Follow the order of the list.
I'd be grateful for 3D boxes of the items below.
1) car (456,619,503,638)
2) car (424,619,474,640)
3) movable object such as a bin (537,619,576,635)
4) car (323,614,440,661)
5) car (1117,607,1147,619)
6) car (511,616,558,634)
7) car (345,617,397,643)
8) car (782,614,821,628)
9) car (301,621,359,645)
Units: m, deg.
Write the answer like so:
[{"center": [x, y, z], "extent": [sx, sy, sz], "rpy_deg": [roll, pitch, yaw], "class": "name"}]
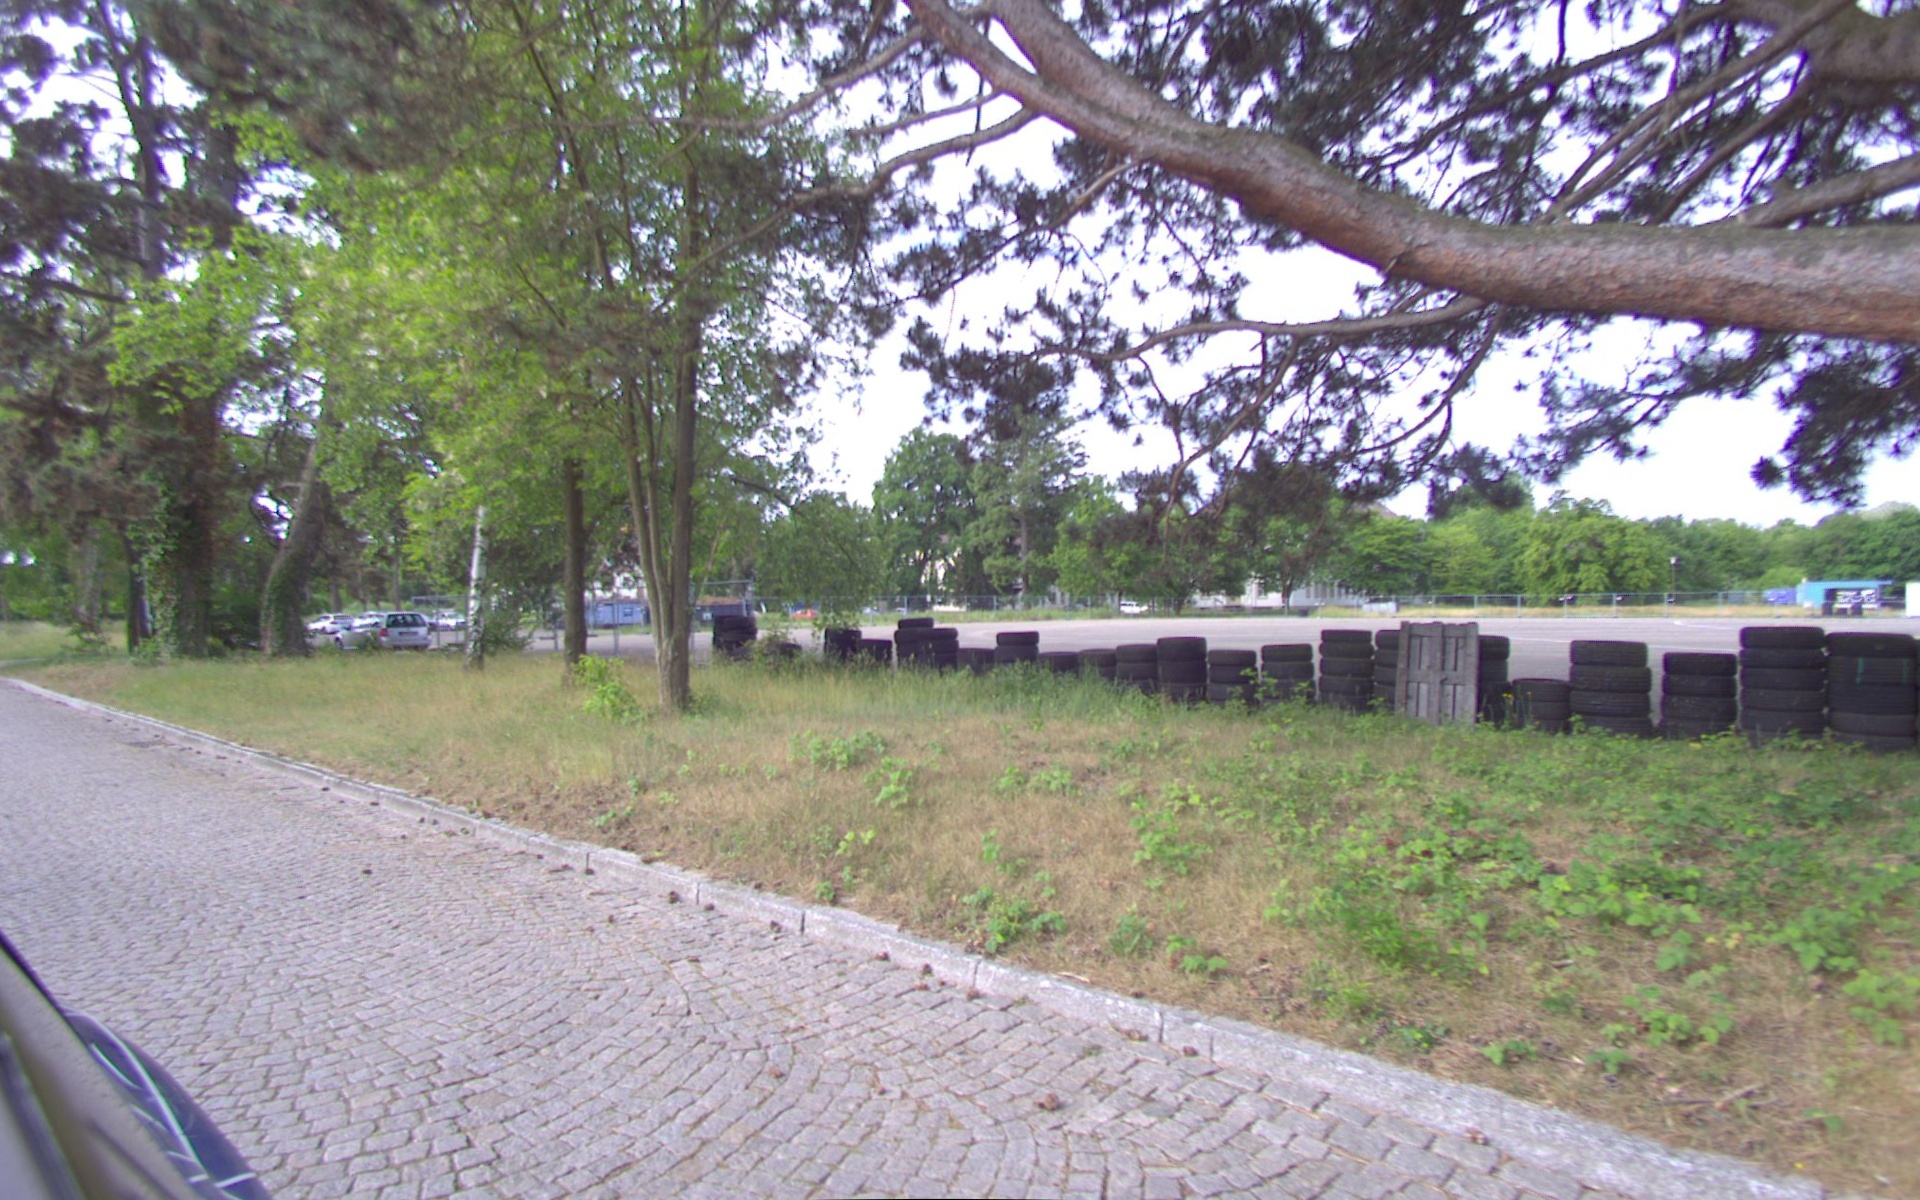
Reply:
[{"center": [-39.836, 2.395, 83.868], "extent": [4.396, 1.486, 1.807], "rpy_deg": [-2, -1, 38], "class": "car"}, {"center": [-36.237, 2.091, 71.783], "extent": [4.032, 1.410, 1.617], "rpy_deg": [-2, -1, 38], "class": "car"}, {"center": [-25.564, 1.690, 64.121], "extent": [1.953, 0.976, 1.431], "rpy_deg": [-2, -1, 34], "class": "movable object such as a bin"}, {"center": [-18.854, 1.224, 32.911], "extent": [4.416, 1.427, 1.807], "rpy_deg": [-2, -3, 39], "class": "car"}, {"center": [26.430, 1.960, 155.654], "extent": [4.289, 1.735, 1.805], "rpy_deg": [-2, 1, 42], "class": "car"}, {"center": [-36.844, 2.210, 87.632], "extent": [4.396, 1.486, 1.807], "rpy_deg": [-2, -1, 38], "class": "car"}, {"center": [-39.033, 2.002, 67.094], "extent": [3.893, 1.531, 1.654], "rpy_deg": [-4, -2, 38], "class": "car"}, {"center": [-17.309, 2.308, 110.424], "extent": [4.399, 1.486, 1.806], "rpy_deg": [-2, -1, 41], "class": "car"}, {"center": [-40.593, 2.117, 65.170], "extent": [4.314, 1.436, 1.807], "rpy_deg": [-2, -1, 38], "class": "car"}]
